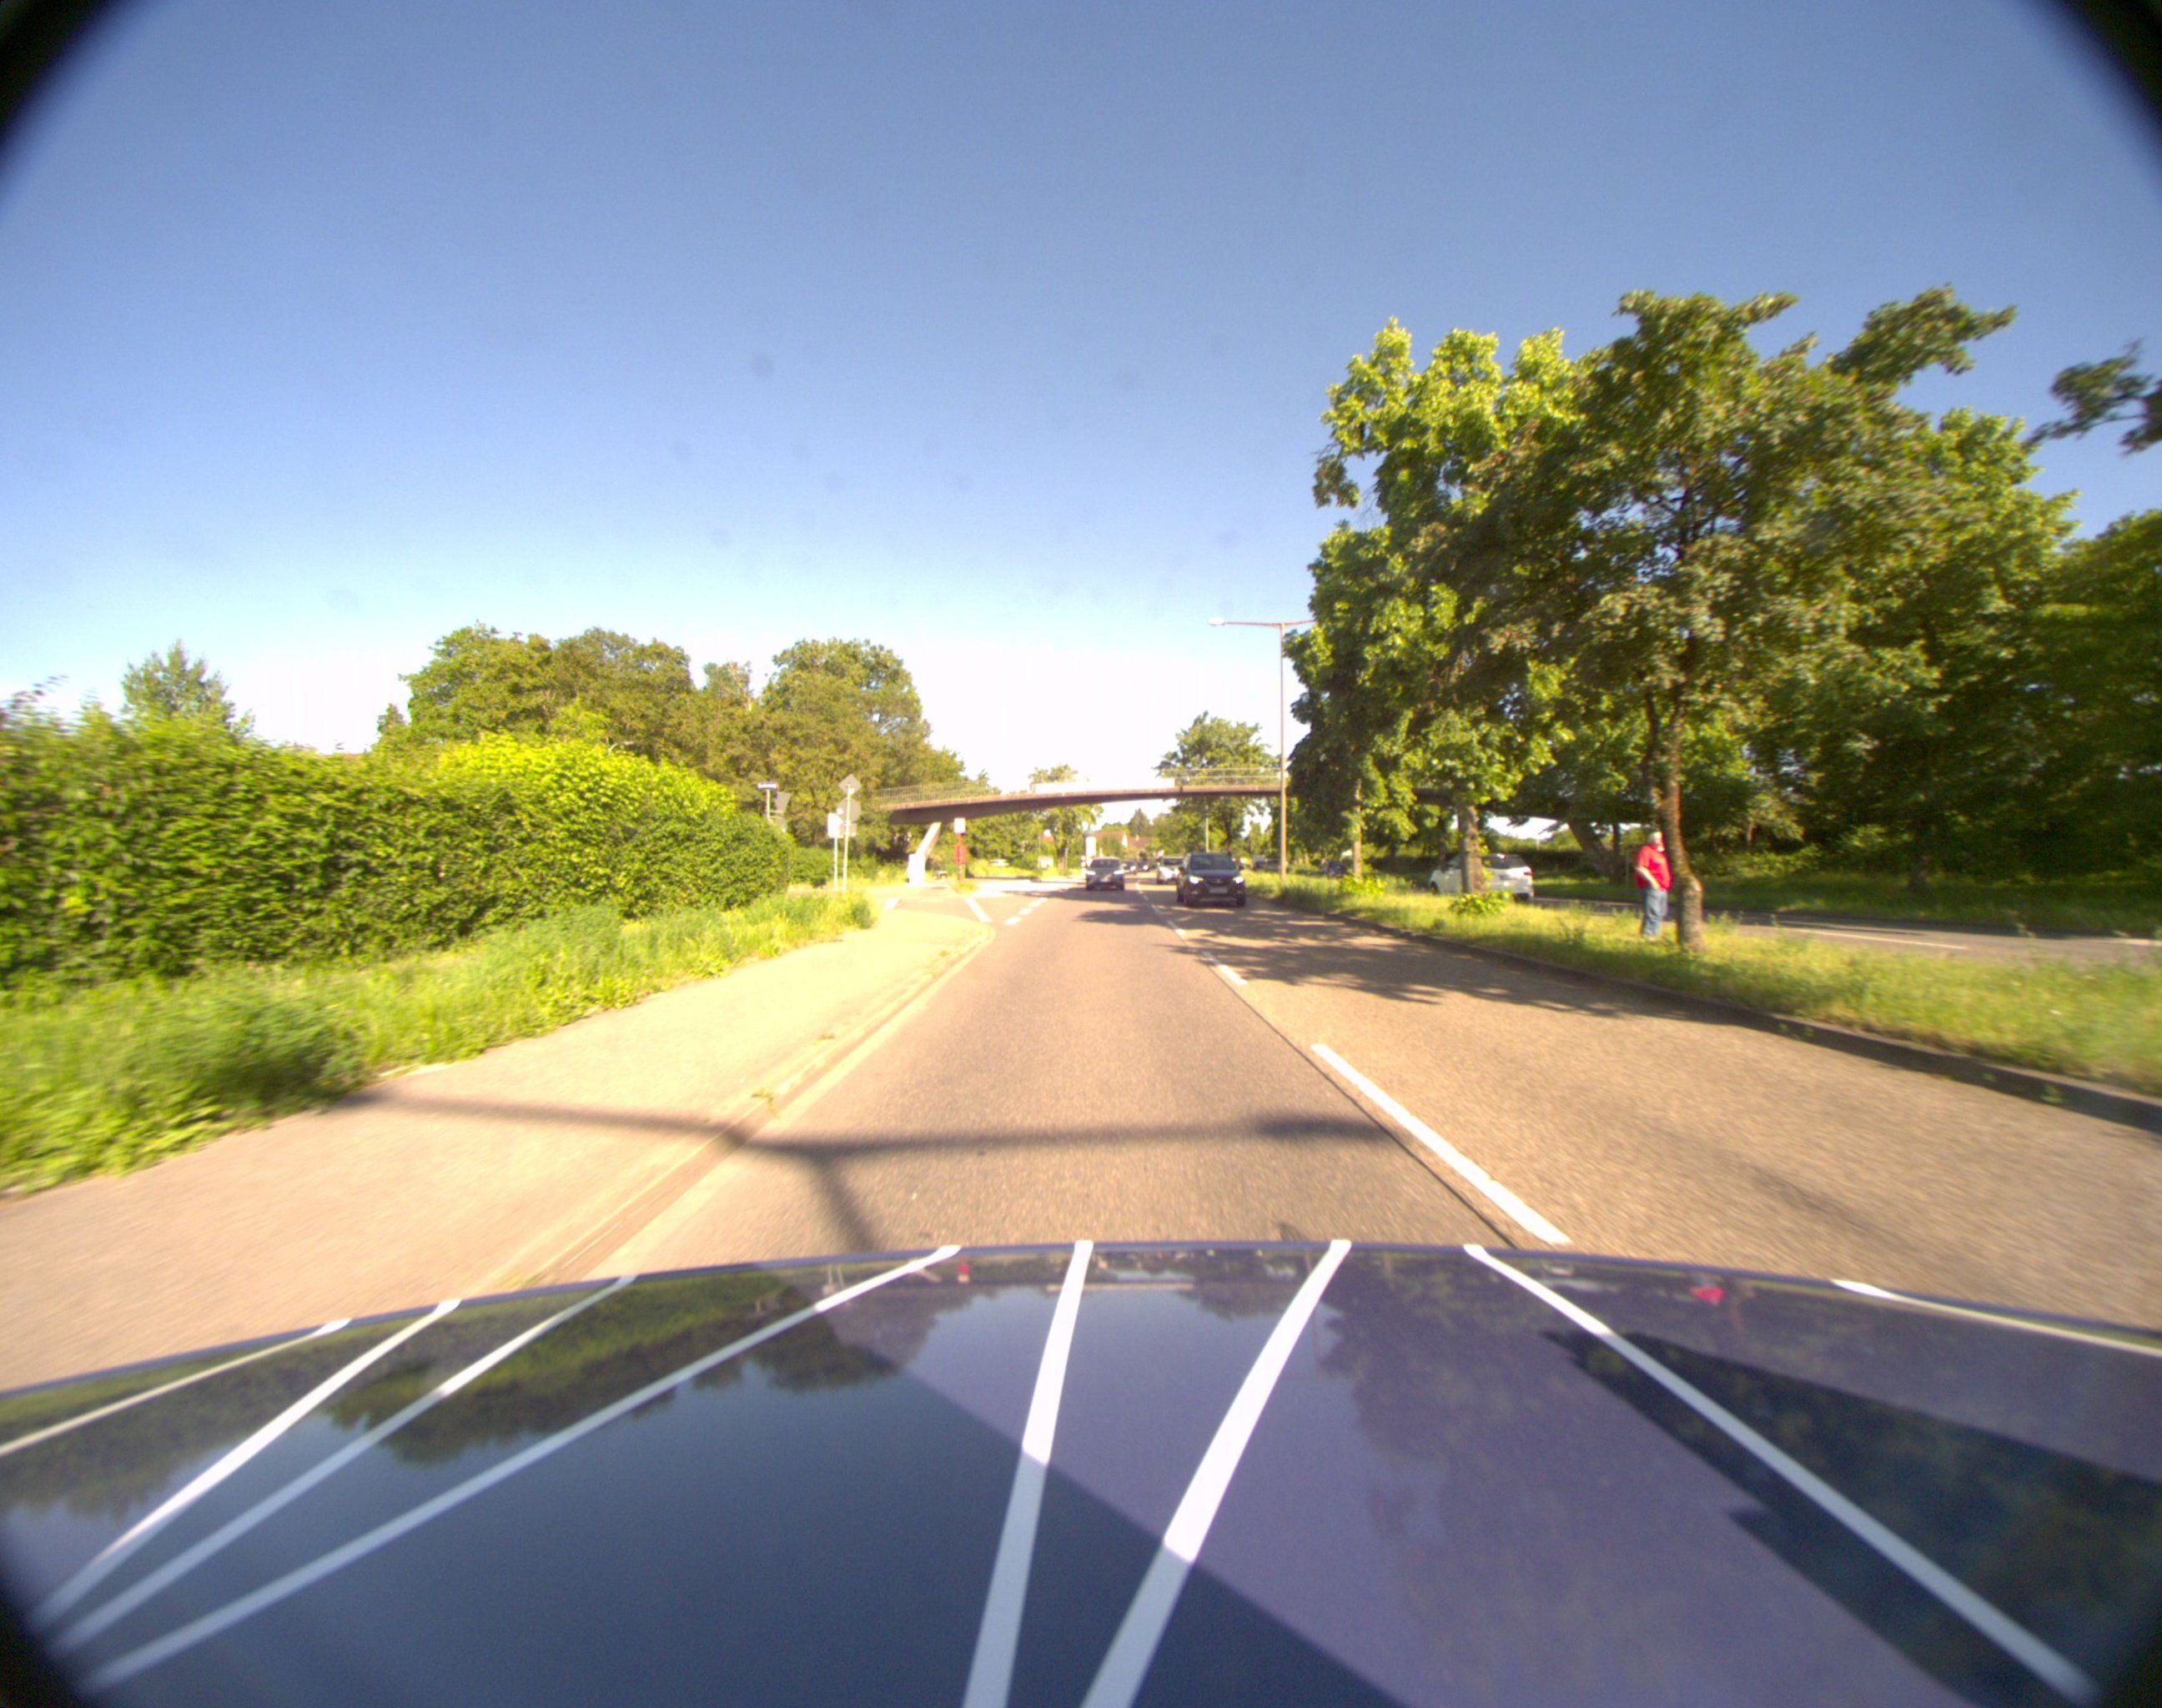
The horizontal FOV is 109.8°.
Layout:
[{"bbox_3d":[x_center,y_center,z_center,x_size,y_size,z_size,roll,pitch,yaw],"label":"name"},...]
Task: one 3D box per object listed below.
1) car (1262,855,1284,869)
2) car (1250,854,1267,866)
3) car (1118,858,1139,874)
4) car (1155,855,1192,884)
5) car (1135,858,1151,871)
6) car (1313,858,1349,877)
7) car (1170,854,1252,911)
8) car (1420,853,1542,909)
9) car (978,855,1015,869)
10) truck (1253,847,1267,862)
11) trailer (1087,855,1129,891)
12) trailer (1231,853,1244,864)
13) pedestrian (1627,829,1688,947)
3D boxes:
[{"bbox_3d":[23.172,0.981,91.902,1.735,1.637,4.902,1,0,4],"label":"car"},{"bbox_3d":[26.070,0.883,111.670,1.753,1.610,4.580,0,0,5],"label":"car"},{"bbox_3d":[4.876,1.215,77.098,1.822,1.553,4.275,-1,0,7],"label":"car"},{"bbox_3d":[5.316,0.841,43.206,1.822,1.553,4.650,-1,-1,10],"label":"car"},{"bbox_3d":[8.250,1.381,101.181,1.822,1.587,4.275,-1,0,8],"label":"car"},{"bbox_3d":[19.060,1.010,58.139,1.543,1.422,4.257,1,0,3],"label":"car"},{"bbox_3d":[3.972,0.814,23.917,1.811,1.605,4.514,-1,0,0],"label":"car"},{"bbox_3d":[12.763,0.795,24.545,1.735,1.622,4.197,0,0,0],"label":"car"},{"bbox_3d":[-11.471,1.135,103.455,4.524,1.857,2.074,0,-2,12],"label":"car"},{"bbox_3d":[30.914,0.068,131.100,2.175,2.498,5.749,2,0,14],"label":"truck"},{"bbox_3d":[1.288,0.888,37.058,1.897,1.585,4.000,-2,0,1],"label":"trailer"},{"bbox_3d":[25.813,0.748,125.366,1.566,1.899,4.284,0,0,5],"label":"trailer"},{"bbox_3d":[8.698,0.491,11.495,0.631,1.686,0.945,0,0,31],"label":"pedestrian"}]
